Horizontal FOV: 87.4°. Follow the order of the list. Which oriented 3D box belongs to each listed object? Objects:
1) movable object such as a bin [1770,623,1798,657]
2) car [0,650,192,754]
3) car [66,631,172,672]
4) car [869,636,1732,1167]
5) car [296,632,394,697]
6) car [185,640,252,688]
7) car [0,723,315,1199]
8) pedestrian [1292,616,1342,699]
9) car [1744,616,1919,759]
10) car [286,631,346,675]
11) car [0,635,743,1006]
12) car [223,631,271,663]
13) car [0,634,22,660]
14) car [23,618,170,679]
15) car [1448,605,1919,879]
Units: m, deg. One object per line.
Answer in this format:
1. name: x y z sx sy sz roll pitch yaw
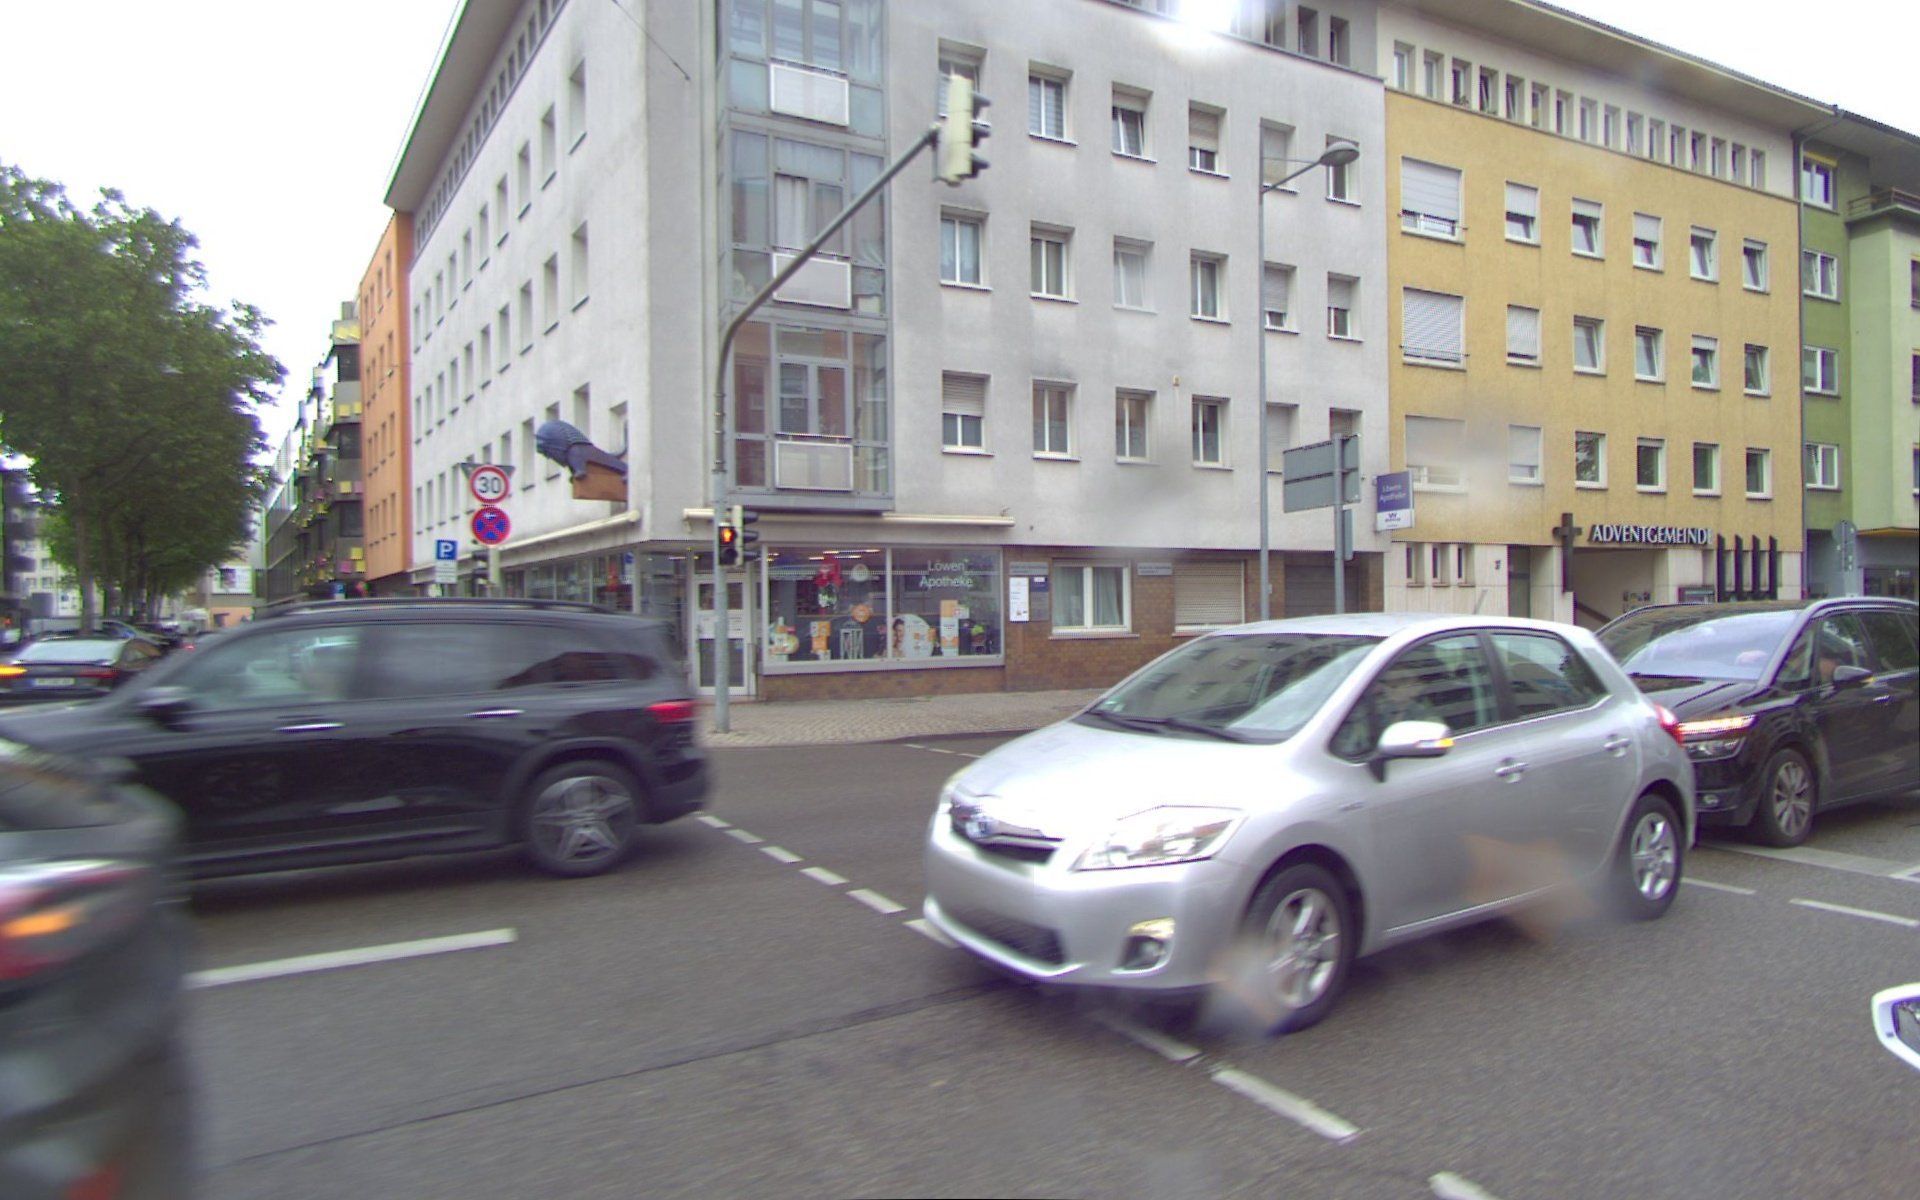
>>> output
1. movable object such as a bin: 23.521 1.126 28.674 0.495 0.942 0.453 -1 1 -24
2. car: -15.113 1.665 17.480 1.974 1.406 4.469 0 -1 -27
3. car: -43.634 2.634 52.217 3.959 1.684 1.872 -3 3 -35
4. car: 1.801 1.001 5.016 4.088 1.547 1.924 0 -1 -31
5. car: -17.875 1.796 29.104 2.027 1.653 4.295 -1 -1 -37
6. car: -27.688 2.346 37.605 1.679 1.648 3.966 0 -2 -32
7. car: -3.127 1.139 0.860 4.190 1.573 1.841 0 -1 -39
8. pedestrian: 7.207 1.148 20.285 0.643 1.603 0.685 -1 3 -24
9. car: 11.712 0.911 11.517 4.318 1.452 1.824 0 -1 -8
10. car: -24.551 1.962 38.293 1.833 1.491 3.802 -1 0 -34
11. car: -3.701 1.093 6.176 4.318 1.661 1.814 0 -1 -28
12. car: -36.181 2.357 51.019 1.833 1.491 3.802 -1 0 -34
13. car: -67.462 3.322 70.665 1.776 1.595 3.955 -2 2 -39
14. car: -38.889 2.131 45.413 4.721 2.337 1.872 -3 3 -35
15. car: 6.050 0.867 7.835 4.374 1.630 1.814 0 -1 -28
